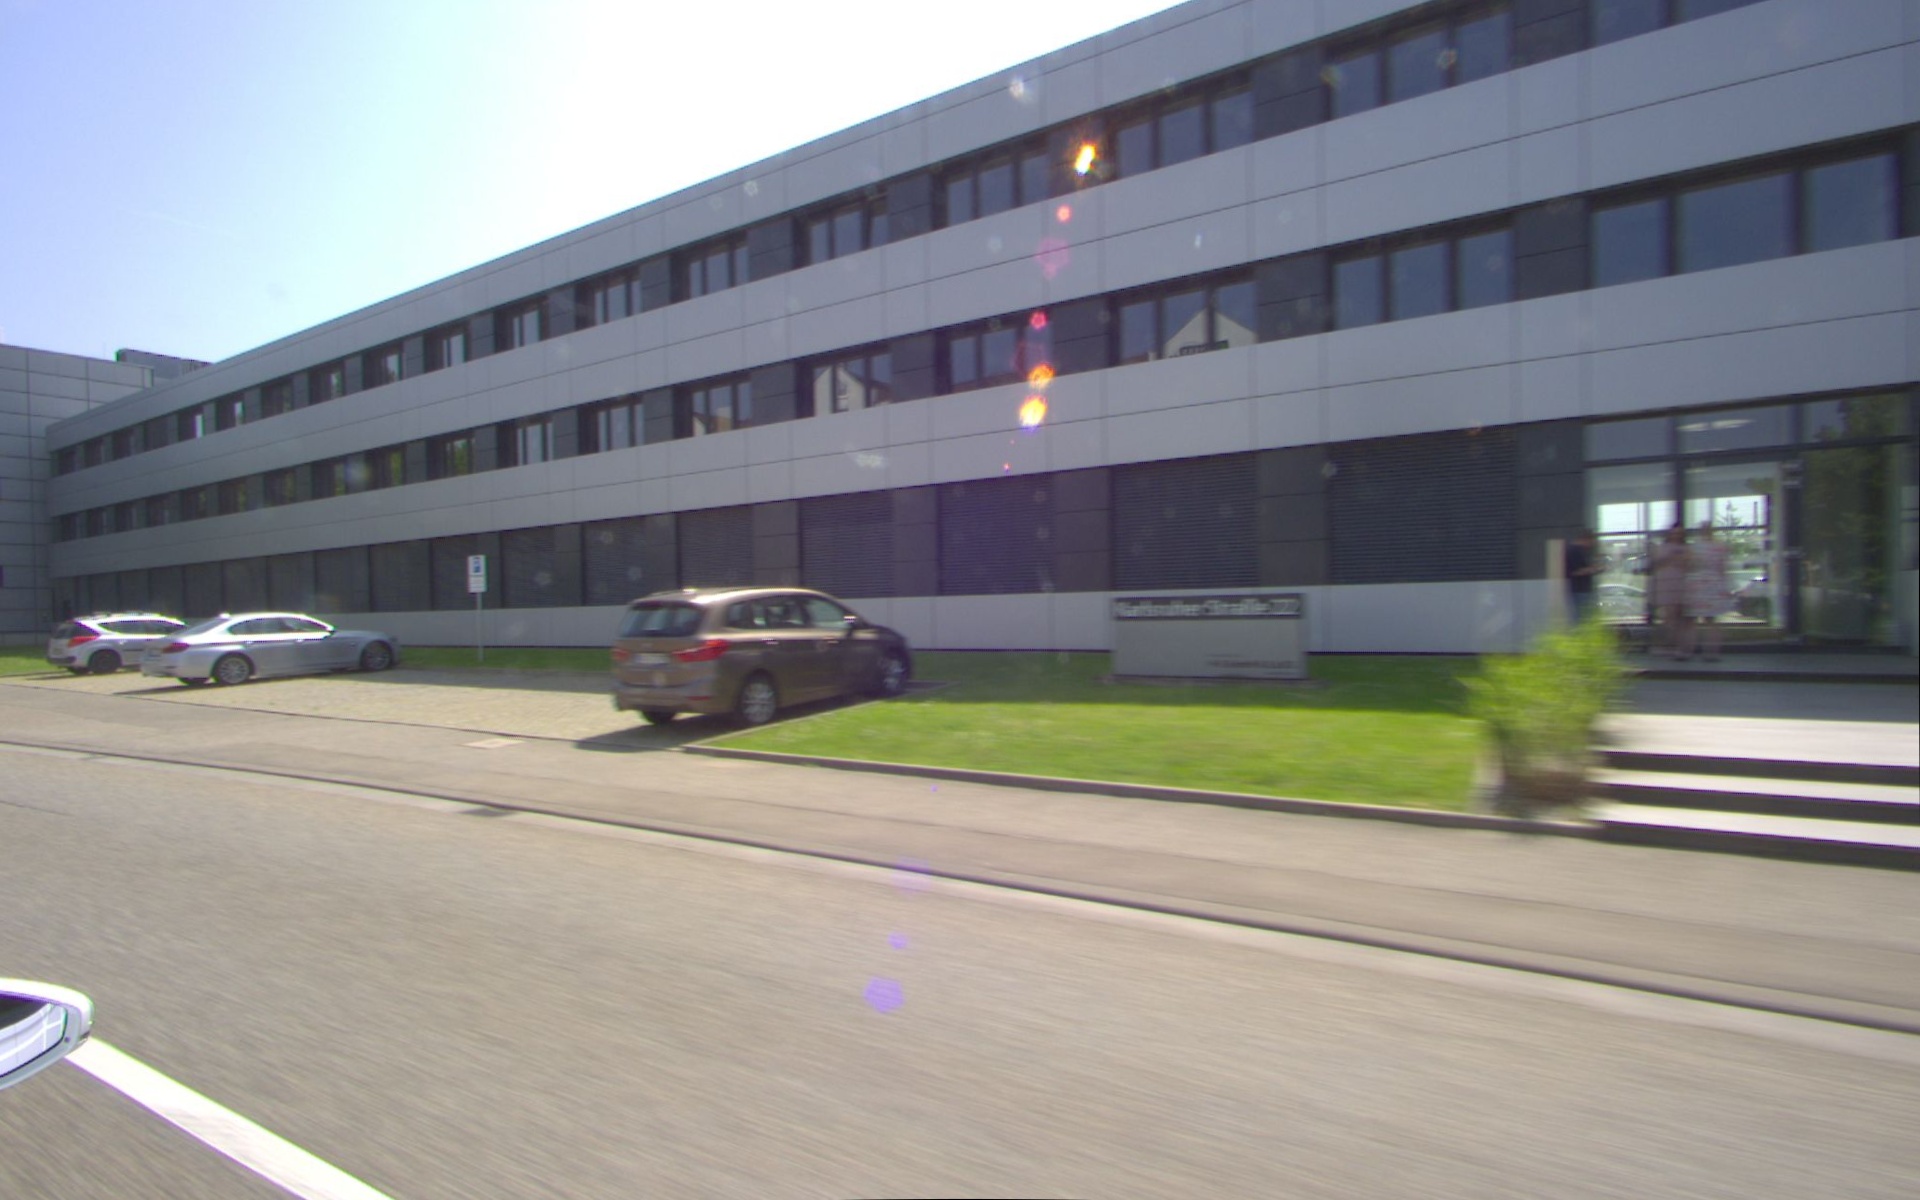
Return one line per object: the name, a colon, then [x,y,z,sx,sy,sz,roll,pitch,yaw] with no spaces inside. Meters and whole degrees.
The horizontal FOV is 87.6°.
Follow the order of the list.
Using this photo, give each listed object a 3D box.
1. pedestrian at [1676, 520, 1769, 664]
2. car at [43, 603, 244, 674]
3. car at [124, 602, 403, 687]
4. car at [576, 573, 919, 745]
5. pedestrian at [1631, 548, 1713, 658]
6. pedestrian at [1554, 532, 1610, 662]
pedestrian: [9.216,-0.087,12.125,0.743,1.685,0.522,-1,1,17]
car: [-22.051,0.988,27.184,1.706,1.614,3.804,-1,2,30]
car: [-15.174,0.891,22.118,1.970,1.409,4.603,-1,3,30]
car: [-2.513,0.592,12.959,1.970,1.712,4.250,-1,3,30]
pedestrian: [9.447,0.047,13.303,0.786,1.424,0.521,-1,1,24]
pedestrian: [8.137,-0.038,13.090,0.517,1.656,0.589,0,1,43]
